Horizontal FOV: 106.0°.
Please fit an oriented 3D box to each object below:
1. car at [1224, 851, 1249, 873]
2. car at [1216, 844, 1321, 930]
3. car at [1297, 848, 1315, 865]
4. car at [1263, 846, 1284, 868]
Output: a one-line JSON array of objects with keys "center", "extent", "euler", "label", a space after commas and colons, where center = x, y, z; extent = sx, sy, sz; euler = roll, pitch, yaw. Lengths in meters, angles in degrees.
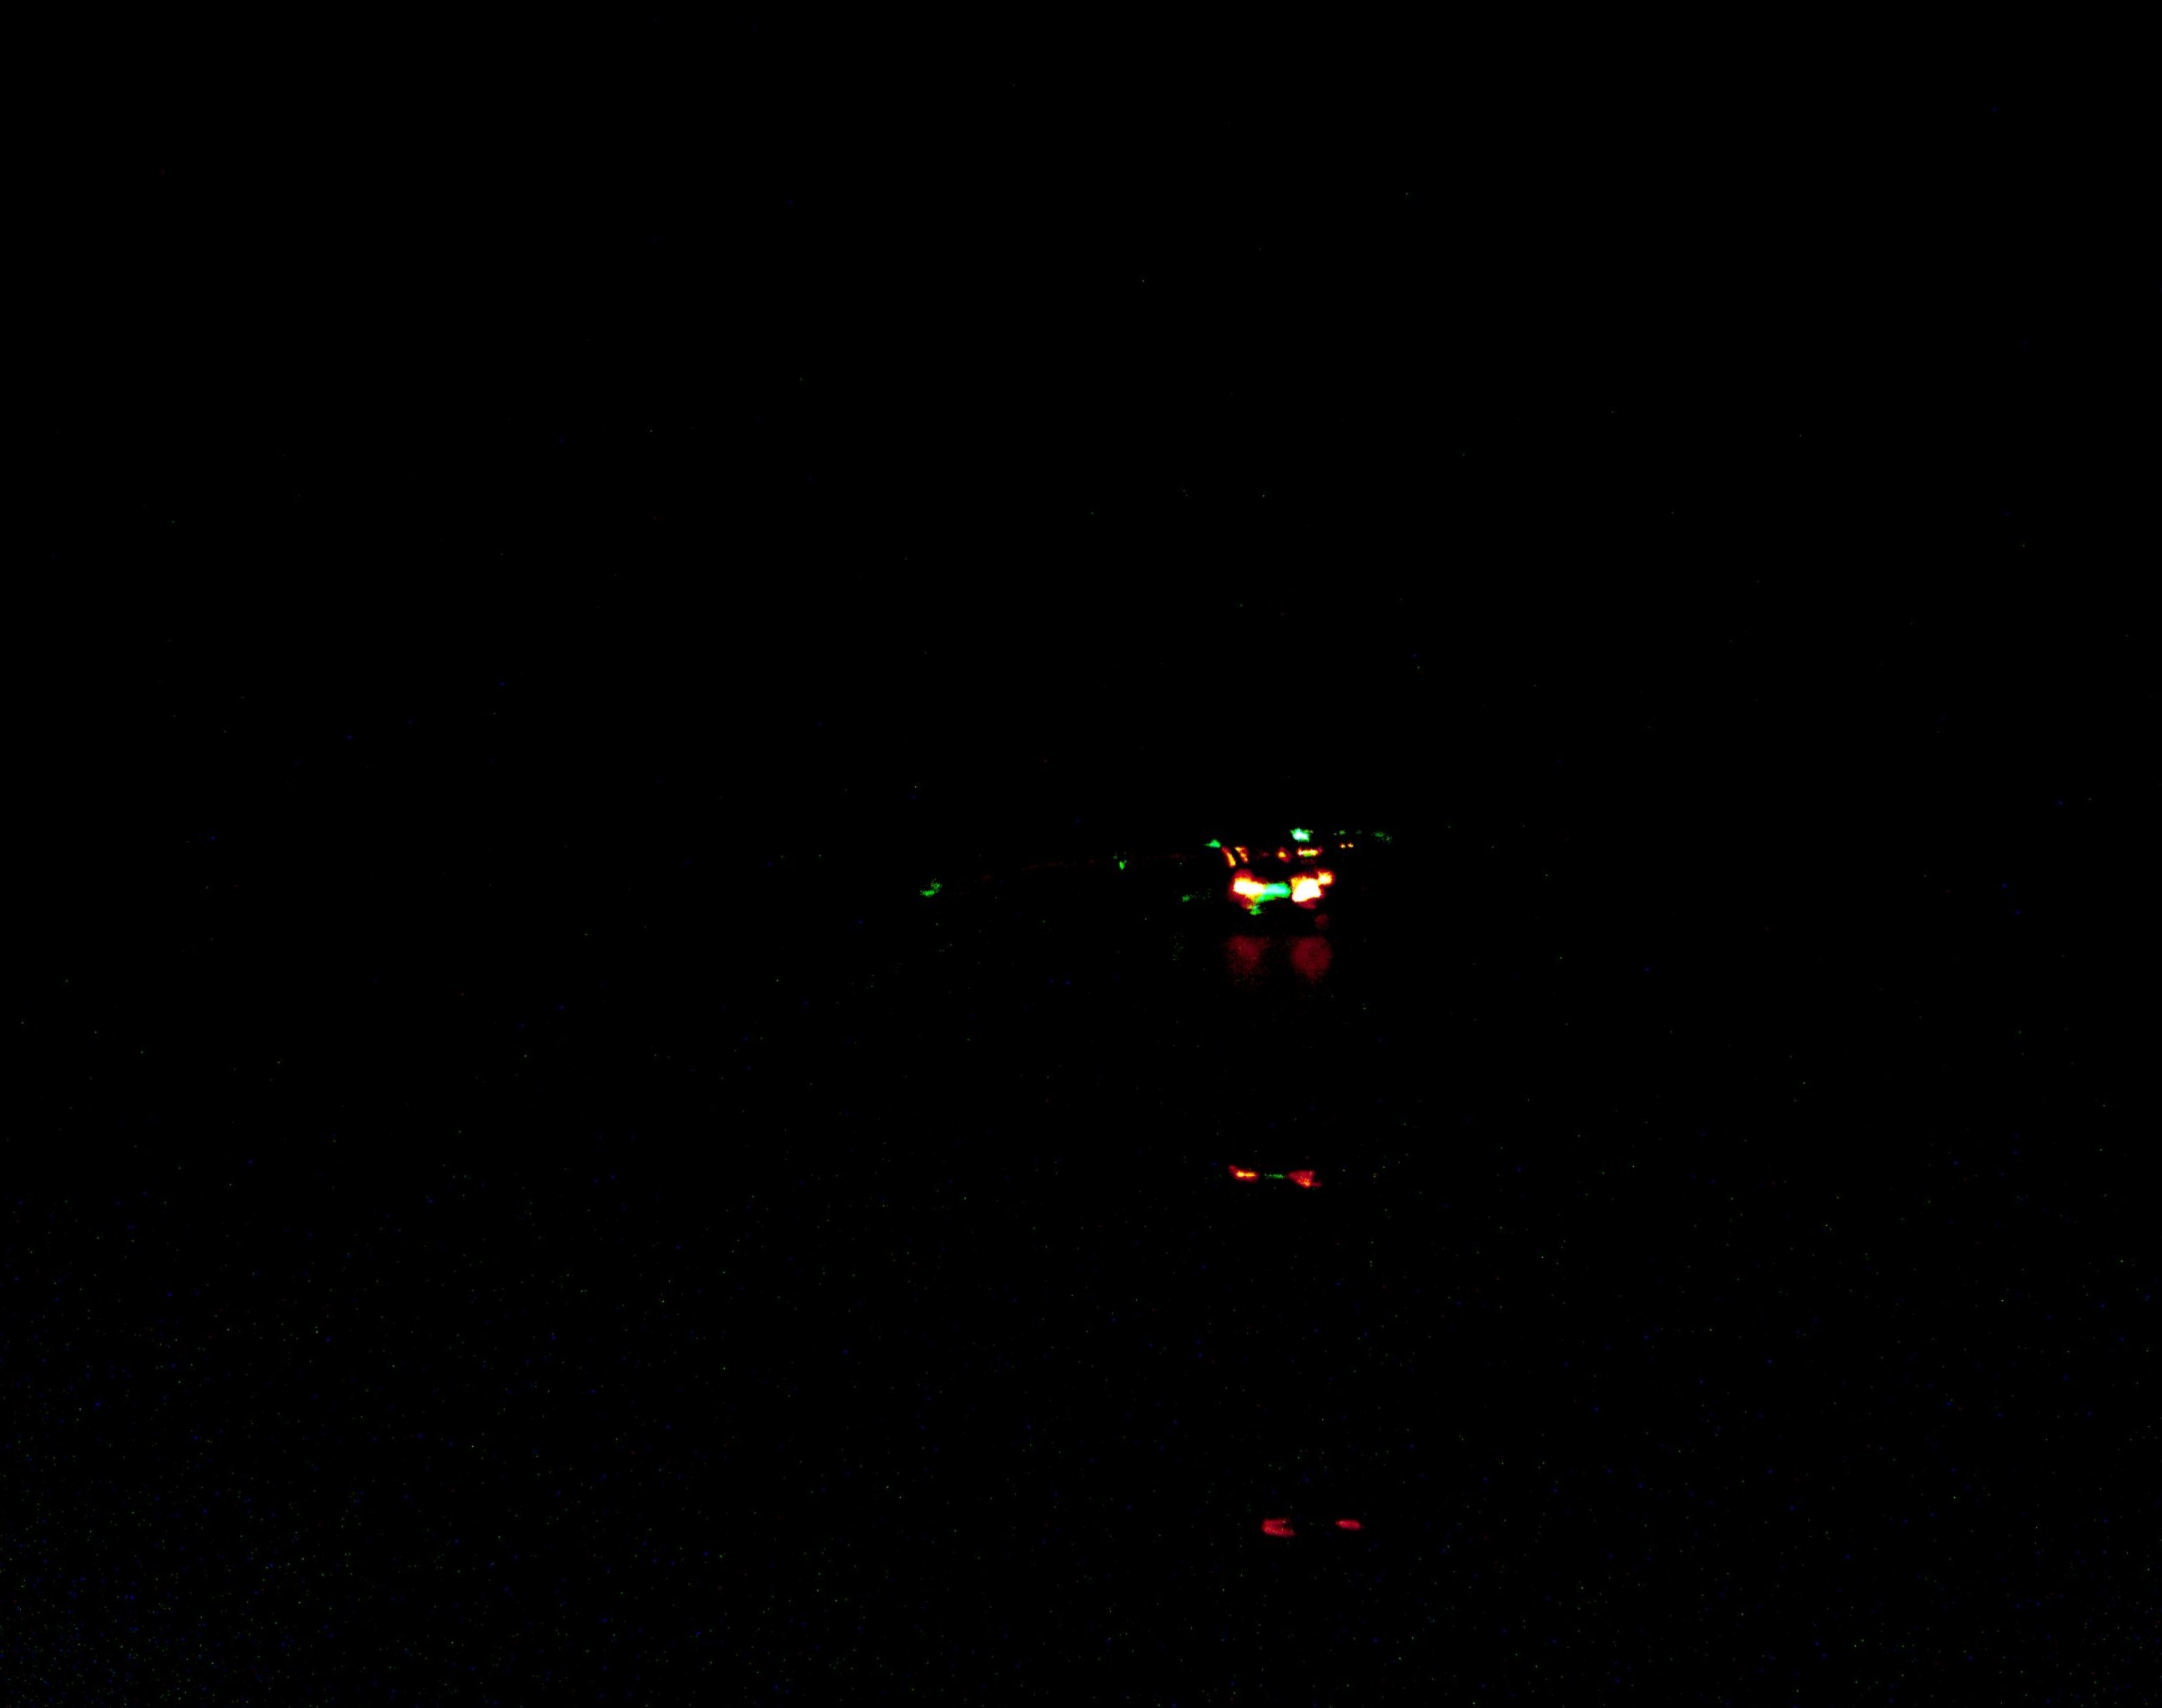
[{"center": [12.770, 0.645, 66.764], "extent": [1.883, 1.720, 4.057], "euler": [-1, -1, 11], "label": "car"}, {"center": [3.949, 0.611, 17.735], "extent": [1.850, 1.647, 4.077], "euler": [0, 0, 7], "label": "car"}, {"center": [27.880, 0.269, 100.860], "extent": [1.880, 1.998, 4.065], "euler": [-2, 0, 18], "label": "car"}, {"center": [19.128, 0.299, 80.948], "extent": [1.881, 2.040, 4.061], "euler": [-1, -1, 14], "label": "car"}]
